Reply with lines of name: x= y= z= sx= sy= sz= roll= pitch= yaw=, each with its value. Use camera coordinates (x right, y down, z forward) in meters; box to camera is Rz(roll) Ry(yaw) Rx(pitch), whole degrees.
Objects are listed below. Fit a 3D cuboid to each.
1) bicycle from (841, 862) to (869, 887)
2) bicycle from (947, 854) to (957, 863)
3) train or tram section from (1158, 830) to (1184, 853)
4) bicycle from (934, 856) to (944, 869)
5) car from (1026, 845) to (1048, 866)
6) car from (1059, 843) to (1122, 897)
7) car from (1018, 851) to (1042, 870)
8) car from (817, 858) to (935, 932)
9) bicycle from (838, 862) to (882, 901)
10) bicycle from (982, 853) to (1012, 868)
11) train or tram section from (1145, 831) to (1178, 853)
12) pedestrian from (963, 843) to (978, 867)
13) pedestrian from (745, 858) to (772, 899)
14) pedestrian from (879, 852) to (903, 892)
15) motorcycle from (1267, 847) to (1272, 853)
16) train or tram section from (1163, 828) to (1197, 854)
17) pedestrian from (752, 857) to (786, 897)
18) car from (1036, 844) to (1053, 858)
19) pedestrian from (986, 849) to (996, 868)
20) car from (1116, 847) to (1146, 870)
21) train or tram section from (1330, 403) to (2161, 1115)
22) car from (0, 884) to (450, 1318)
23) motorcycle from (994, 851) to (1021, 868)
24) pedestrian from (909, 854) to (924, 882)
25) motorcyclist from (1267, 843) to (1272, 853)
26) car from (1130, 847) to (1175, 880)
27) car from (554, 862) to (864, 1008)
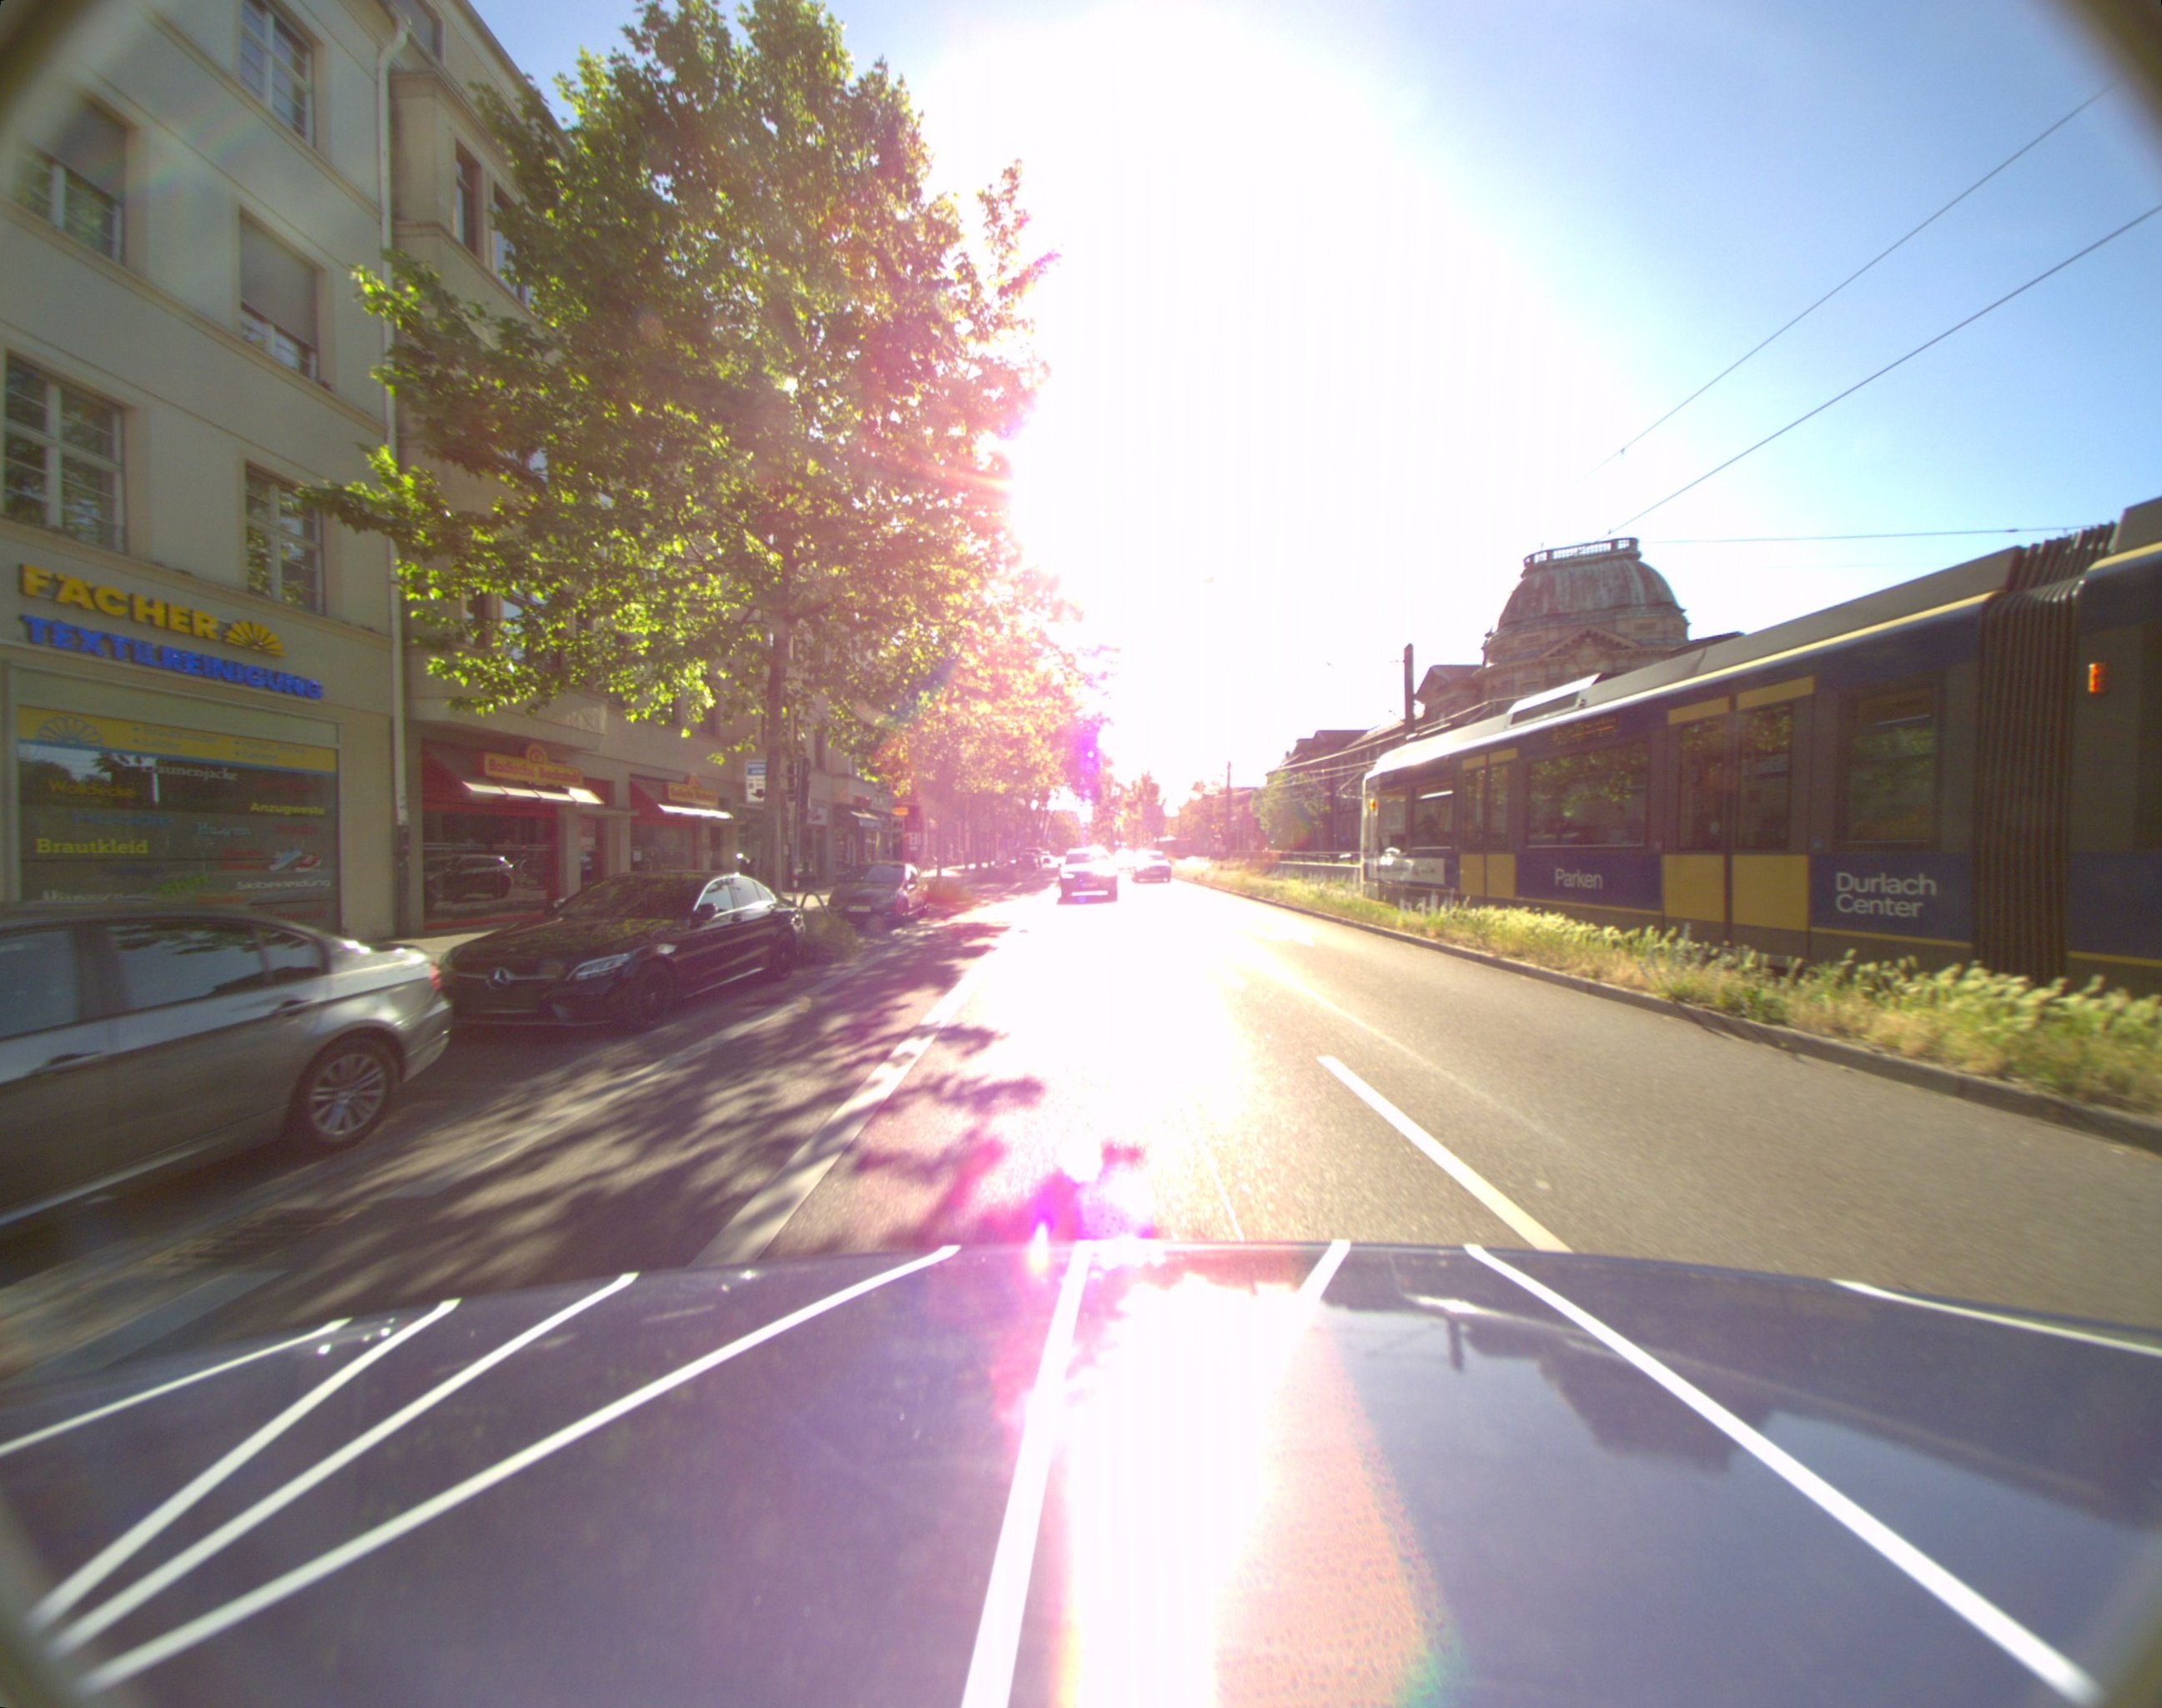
bicycle: x=-10.355 y=0.927 z=34.887 sx=0.491 sy=1.018 sz=2.622 roll=-1 pitch=1 yaw=0
bicycle: x=-11.627 y=0.427 z=68.433 sx=0.550 sy=0.769 sz=1.662 roll=1 pitch=1 yaw=0
train or tram section: x=13.942 y=-1.892 z=118.080 sx=2.964 sy=3.463 sz=6.058 roll=-2 pitch=1 yaw=-1
bicycle: x=-11.396 y=0.658 z=60.999 sx=0.415 sy=0.992 sz=1.882 roll=-1 pitch=1 yaw=0
car: x=-4.421 y=0.084 z=77.152 sx=1.861 sy=2.002 sz=4.723 roll=-3 pitch=1 yaw=0
car: x=0.275 y=0.474 z=26.564 sx=1.949 sy=1.690 sz=5.305 roll=-1 pitch=1 yaw=0
car: x=-4.654 y=0.575 z=69.893 sx=1.823 sy=1.506 sz=4.706 roll=-3 pitch=1 yaw=-1
car: x=-4.682 y=0.872 z=17.883 sx=1.699 sy=1.494 sz=3.801 roll=2 pitch=0 yaw=0
bicycle: x=-7.398 y=0.894 z=25.508 sx=0.386 sy=1.200 sz=1.875 roll=-1 pitch=1 yaw=18
bicycle: x=-6.657 y=0.480 z=60.158 sx=2.228 sy=1.087 sz=0.455 roll=-2 pitch=1 yaw=2
train or tram section: x=13.733 y=-2.007 z=131.728 sx=2.971 sy=3.463 sz=21.213 roll=-2 pitch=1 yaw=-1
pedestrian: x=-9.213 y=0.096 z=63.338 sx=1.090 sy=2.002 sz=1.046 roll=1 pitch=1 yaw=1
pedestrian: x=-10.656 y=0.792 z=25.141 sx=0.536 sy=1.325 sz=0.820 roll=0 pitch=1 yaw=1
pedestrian: x=-8.280 y=0.785 z=33.169 sx=0.861 sy=1.695 sz=0.916 roll=0 pitch=1 yaw=-2
motorcycle: x=25.603 y=-0.492 z=103.090 sx=0.369 sy=0.779 sz=1.522 roll=-2 pitch=1 yaw=3
train or tram section: x=14.138 y=-1.846 z=109.424 sx=2.969 sy=3.463 sz=11.284 roll=-2 pitch=1 yaw=-1
pedestrian: x=-10.663 y=0.775 z=26.025 sx=0.787 sy=1.361 sz=0.856 roll=0 pitch=1 yaw=1
car: x=-4.448 y=-0.370 z=92.861 sx=1.672 sy=1.561 sz=4.279 roll=-2 pitch=1 yaw=2
pedestrian: x=-8.734 y=0.433 z=74.015 sx=0.644 sy=1.817 sz=0.895 roll=-2 pitch=1 yaw=9
car: x=3.427 y=0.255 z=52.212 sx=1.798 sy=1.420 sz=3.999 roll=-2 pitch=1 yaw=1
train or tram section: x=7.181 y=-0.629 z=9.915 sx=2.936 sy=3.790 sz=14.269 roll=-3 pitch=1 yaw=0
car: x=-5.014 y=1.011 z=2.716 sx=1.794 sy=1.546 sz=4.434 roll=-1 pitch=1 yaw=-1
motorcycle: x=-5.717 y=0.391 z=59.079 sx=1.954 sy=1.224 sz=0.515 roll=-3 pitch=1 yaw=-3
pedestrian: x=-9.669 y=0.800 z=44.607 sx=0.683 sy=1.612 sz=0.562 roll=-3 pitch=1 yaw=-2
motorcyclist: x=25.591 y=-0.840 z=103.055 sx=0.515 sy=1.250 sz=0.691 roll=-2 pitch=1 yaw=4
car: x=3.426 y=0.433 z=37.102 sx=1.778 sy=1.440 sz=3.868 roll=-2 pitch=1 yaw=0
car: x=-4.774 y=0.918 z=10.708 sx=2.043 sy=1.500 sz=4.593 roll=-1 pitch=1 yaw=0
